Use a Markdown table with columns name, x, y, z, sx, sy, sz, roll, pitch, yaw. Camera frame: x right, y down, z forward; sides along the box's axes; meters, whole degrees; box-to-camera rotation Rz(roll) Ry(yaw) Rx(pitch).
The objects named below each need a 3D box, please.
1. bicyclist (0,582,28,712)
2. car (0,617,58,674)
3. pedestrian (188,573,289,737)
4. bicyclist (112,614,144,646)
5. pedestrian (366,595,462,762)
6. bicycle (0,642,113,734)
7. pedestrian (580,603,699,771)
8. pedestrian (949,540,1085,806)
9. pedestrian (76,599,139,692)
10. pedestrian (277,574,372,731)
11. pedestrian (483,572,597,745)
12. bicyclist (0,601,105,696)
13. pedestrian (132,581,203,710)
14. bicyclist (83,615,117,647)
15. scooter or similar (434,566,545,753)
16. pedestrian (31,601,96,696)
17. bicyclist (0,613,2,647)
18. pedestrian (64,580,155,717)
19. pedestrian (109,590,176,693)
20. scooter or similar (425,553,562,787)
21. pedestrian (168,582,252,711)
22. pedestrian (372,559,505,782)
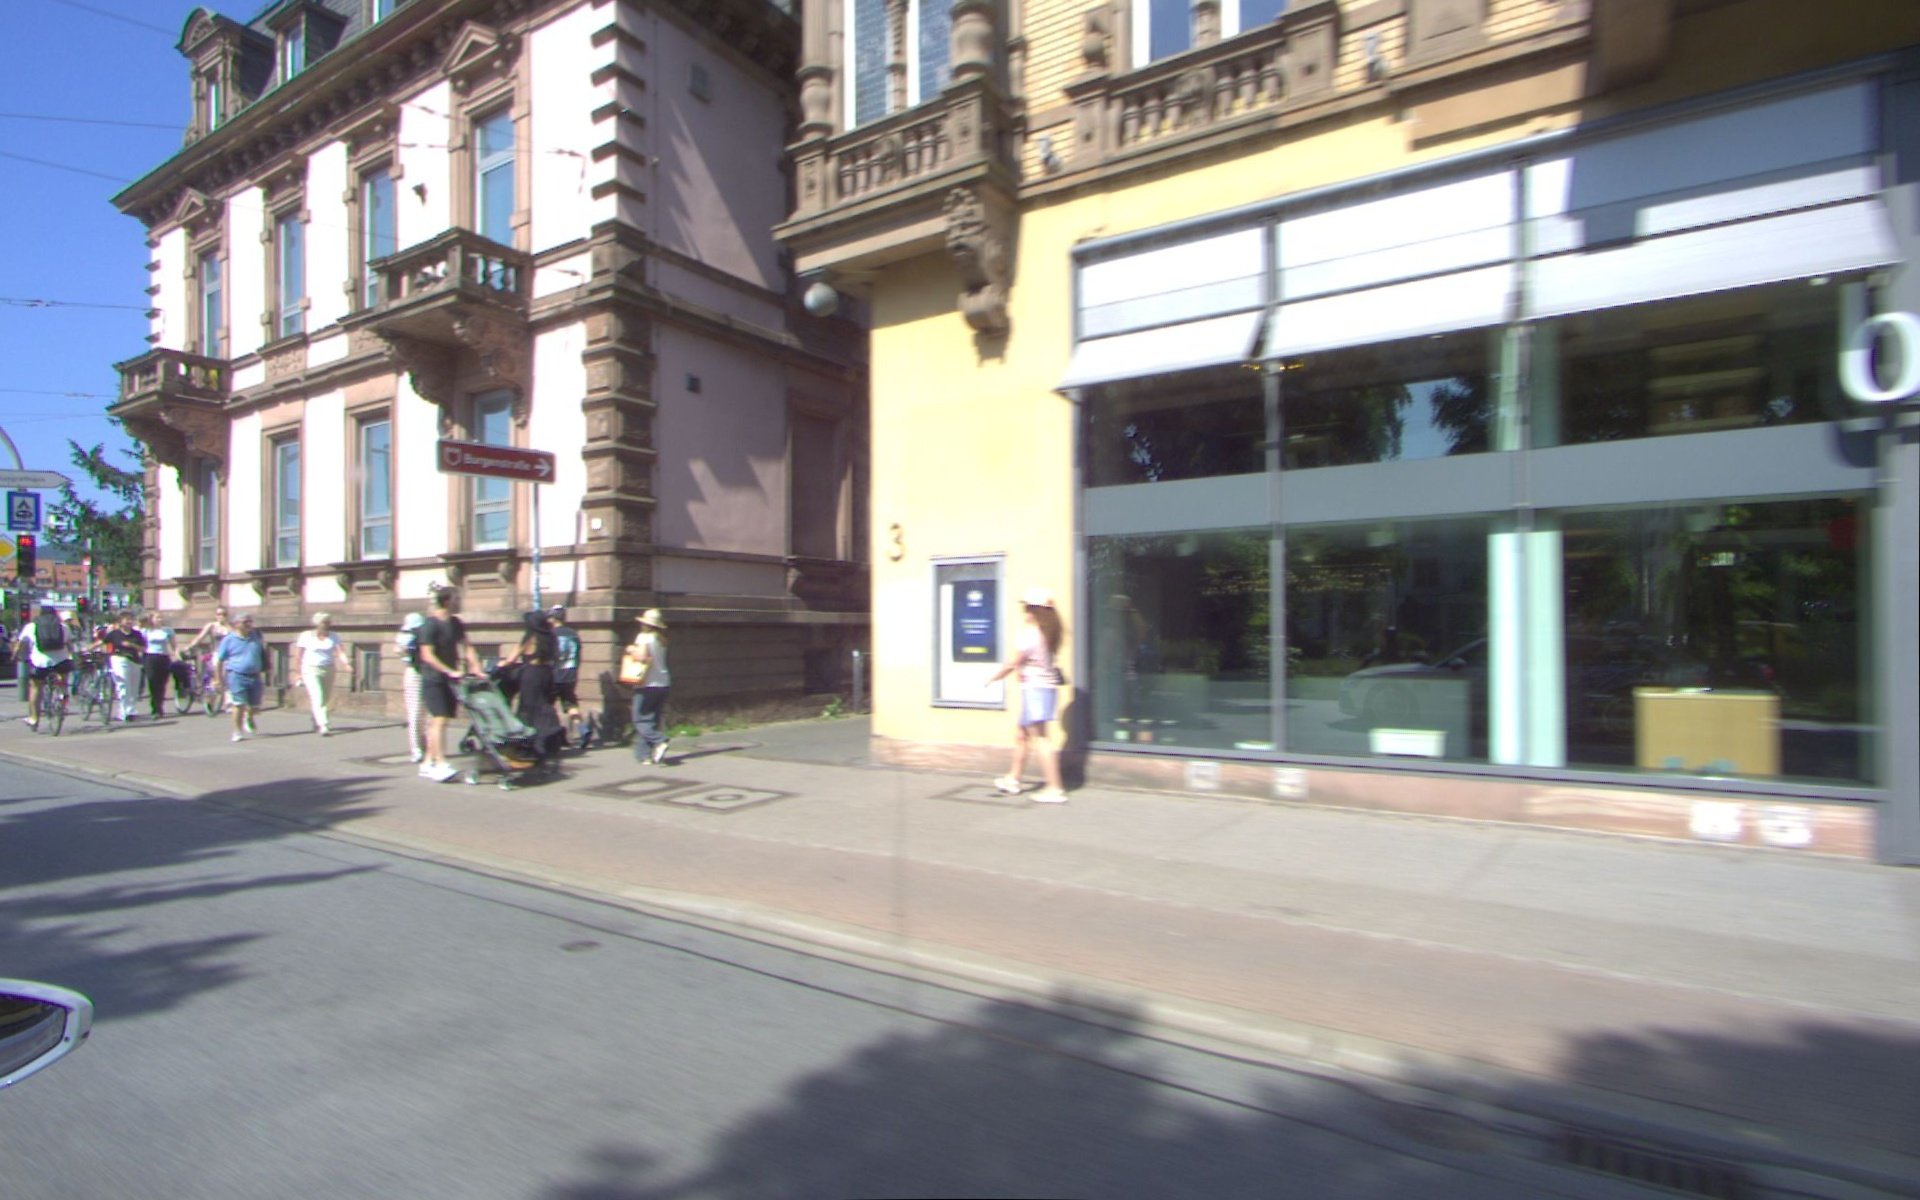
| name | x | y | z | sx | sy | sz | roll | pitch | yaw |
| --- | --- | --- | --- | --- | --- | --- | --- | --- | --- |
| bicyclist | -15.470 | 0.737 | 15.798 | 0.818 | 2.040 | 0.940 | 0 | 0 | 32 |
| car | -26.392 | 1.195 | 26.487 | 1.963 | 1.455 | 3.996 | 2 | -1 | -12 |
| pedestrian | -9.376 | 0.692 | 13.022 | 0.803 | 2.040 | 0.810 | 0 | 0 | 32 |
| bicyclist | -40.686 | 1.476 | 48.957 | 1.073 | 1.492 | 0.919 | 3 | -2 | -44 |
| pedestrian | -5.878 | 0.817 | 10.784 | 0.620 | 1.717 | 0.703 | -1 | -1 | 35 |
| bicycle | -12.495 | 1.166 | 13.692 | 2.107 | 1.117 | 0.777 | 0 | 0 | 32 |
| pedestrian | -3.316 | 0.860 | 10.386 | 0.803 | 1.624 | 0.810 | 0 | 2 | 32 |
| pedestrian | 0.480 | 0.558 | 8.223 | 0.803 | 2.041 | 0.810 | 0 | 2 | 32 |
| pedestrian | -16.923 | 0.880 | 19.884 | 0.890 | 1.792 | 0.704 | 0 | 0 | 31 |
| pedestrian | -8.601 | 0.691 | 13.569 | 0.803 | 2.040 | 0.810 | 0 | 1 | 32 |
| pedestrian | -4.623 | 0.605 | 11.042 | 0.803 | 1.817 | 0.810 | 0 | 2 | 32 |
| bicyclist | -12.451 | 0.637 | 13.682 | 0.958 | 1.235 | 0.919 | 0 | 0 | 32 |
| pedestrian | -12.940 | 0.716 | 16.359 | 0.689 | 2.041 | 0.658 | 0 | 2 | 32 |
| bicyclist | -41.261 | 1.467 | 48.056 | 1.068 | 1.492 | 0.758 | 3 | -2 | -29 |
| scooter or similar | -5.424 | 0.658 | 11.537 | 1.080 | 2.040 | 0.691 | 0 | 0 | 32 |
| pedestrian | -17.175 | 0.918 | 19.181 | 0.890 | 1.775 | 0.704 | -1 | -1 | 31 |
| bicyclist | -42.680 | 1.295 | 43.771 | 0.791 | 1.492 | 1.075 | 0 | -2 | 42 |
| pedestrian | -13.096 | 0.720 | 15.430 | 0.803 | 2.041 | 0.810 | 0 | 2 | 32 |
| pedestrian | -15.660 | 0.796 | 19.184 | 0.890 | 1.914 | 0.634 | 1 | -3 | 31 |
| scooter or similar | -4.345 | 0.620 | 9.328 | 1.080 | 2.040 | 0.691 | 0 | 0 | 32 |
| pedestrian | -12.248 | 0.731 | 16.358 | 0.803 | 2.041 | 0.810 | 0 | 2 | 32 |
| pedestrian | -5.042 | 0.643 | 9.698 | 0.803 | 2.041 | 0.810 | 0 | 2 | 32 |
